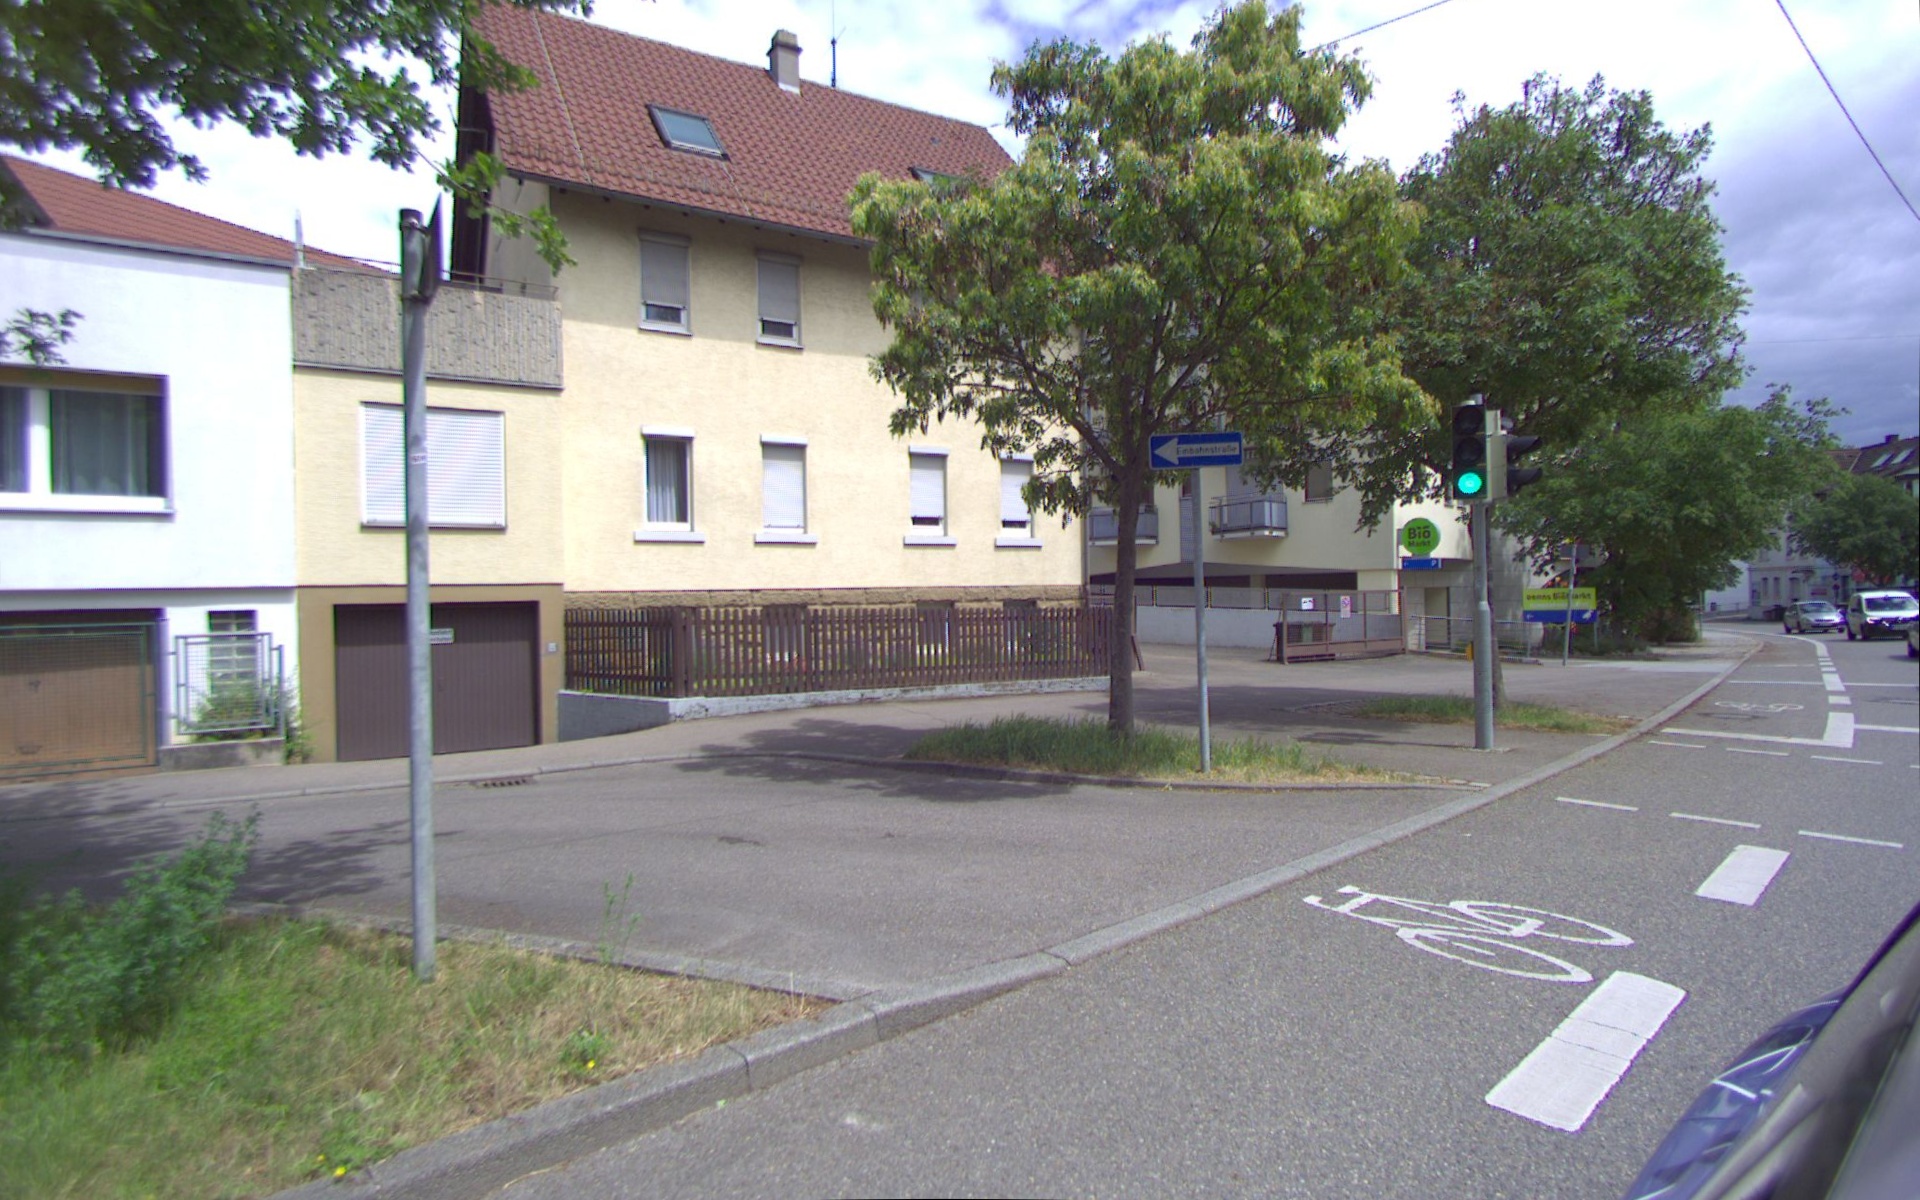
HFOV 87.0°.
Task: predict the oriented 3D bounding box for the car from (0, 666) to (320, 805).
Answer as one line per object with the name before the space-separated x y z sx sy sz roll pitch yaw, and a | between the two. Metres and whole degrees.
car | -9.048 1.408 10.726 3.798 1.139 1.466 -2 -2 -33

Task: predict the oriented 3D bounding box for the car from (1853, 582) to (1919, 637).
car | 34.290 0.326 36.994 1.840 1.839 3.952 -4 -2 34

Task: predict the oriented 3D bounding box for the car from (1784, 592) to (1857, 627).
car | 40.566 0.441 47.800 1.678 1.505 3.962 -4 -1 27

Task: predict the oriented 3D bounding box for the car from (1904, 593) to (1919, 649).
car | 24.429 0.521 24.349 1.828 1.408 3.952 0 -1 33
